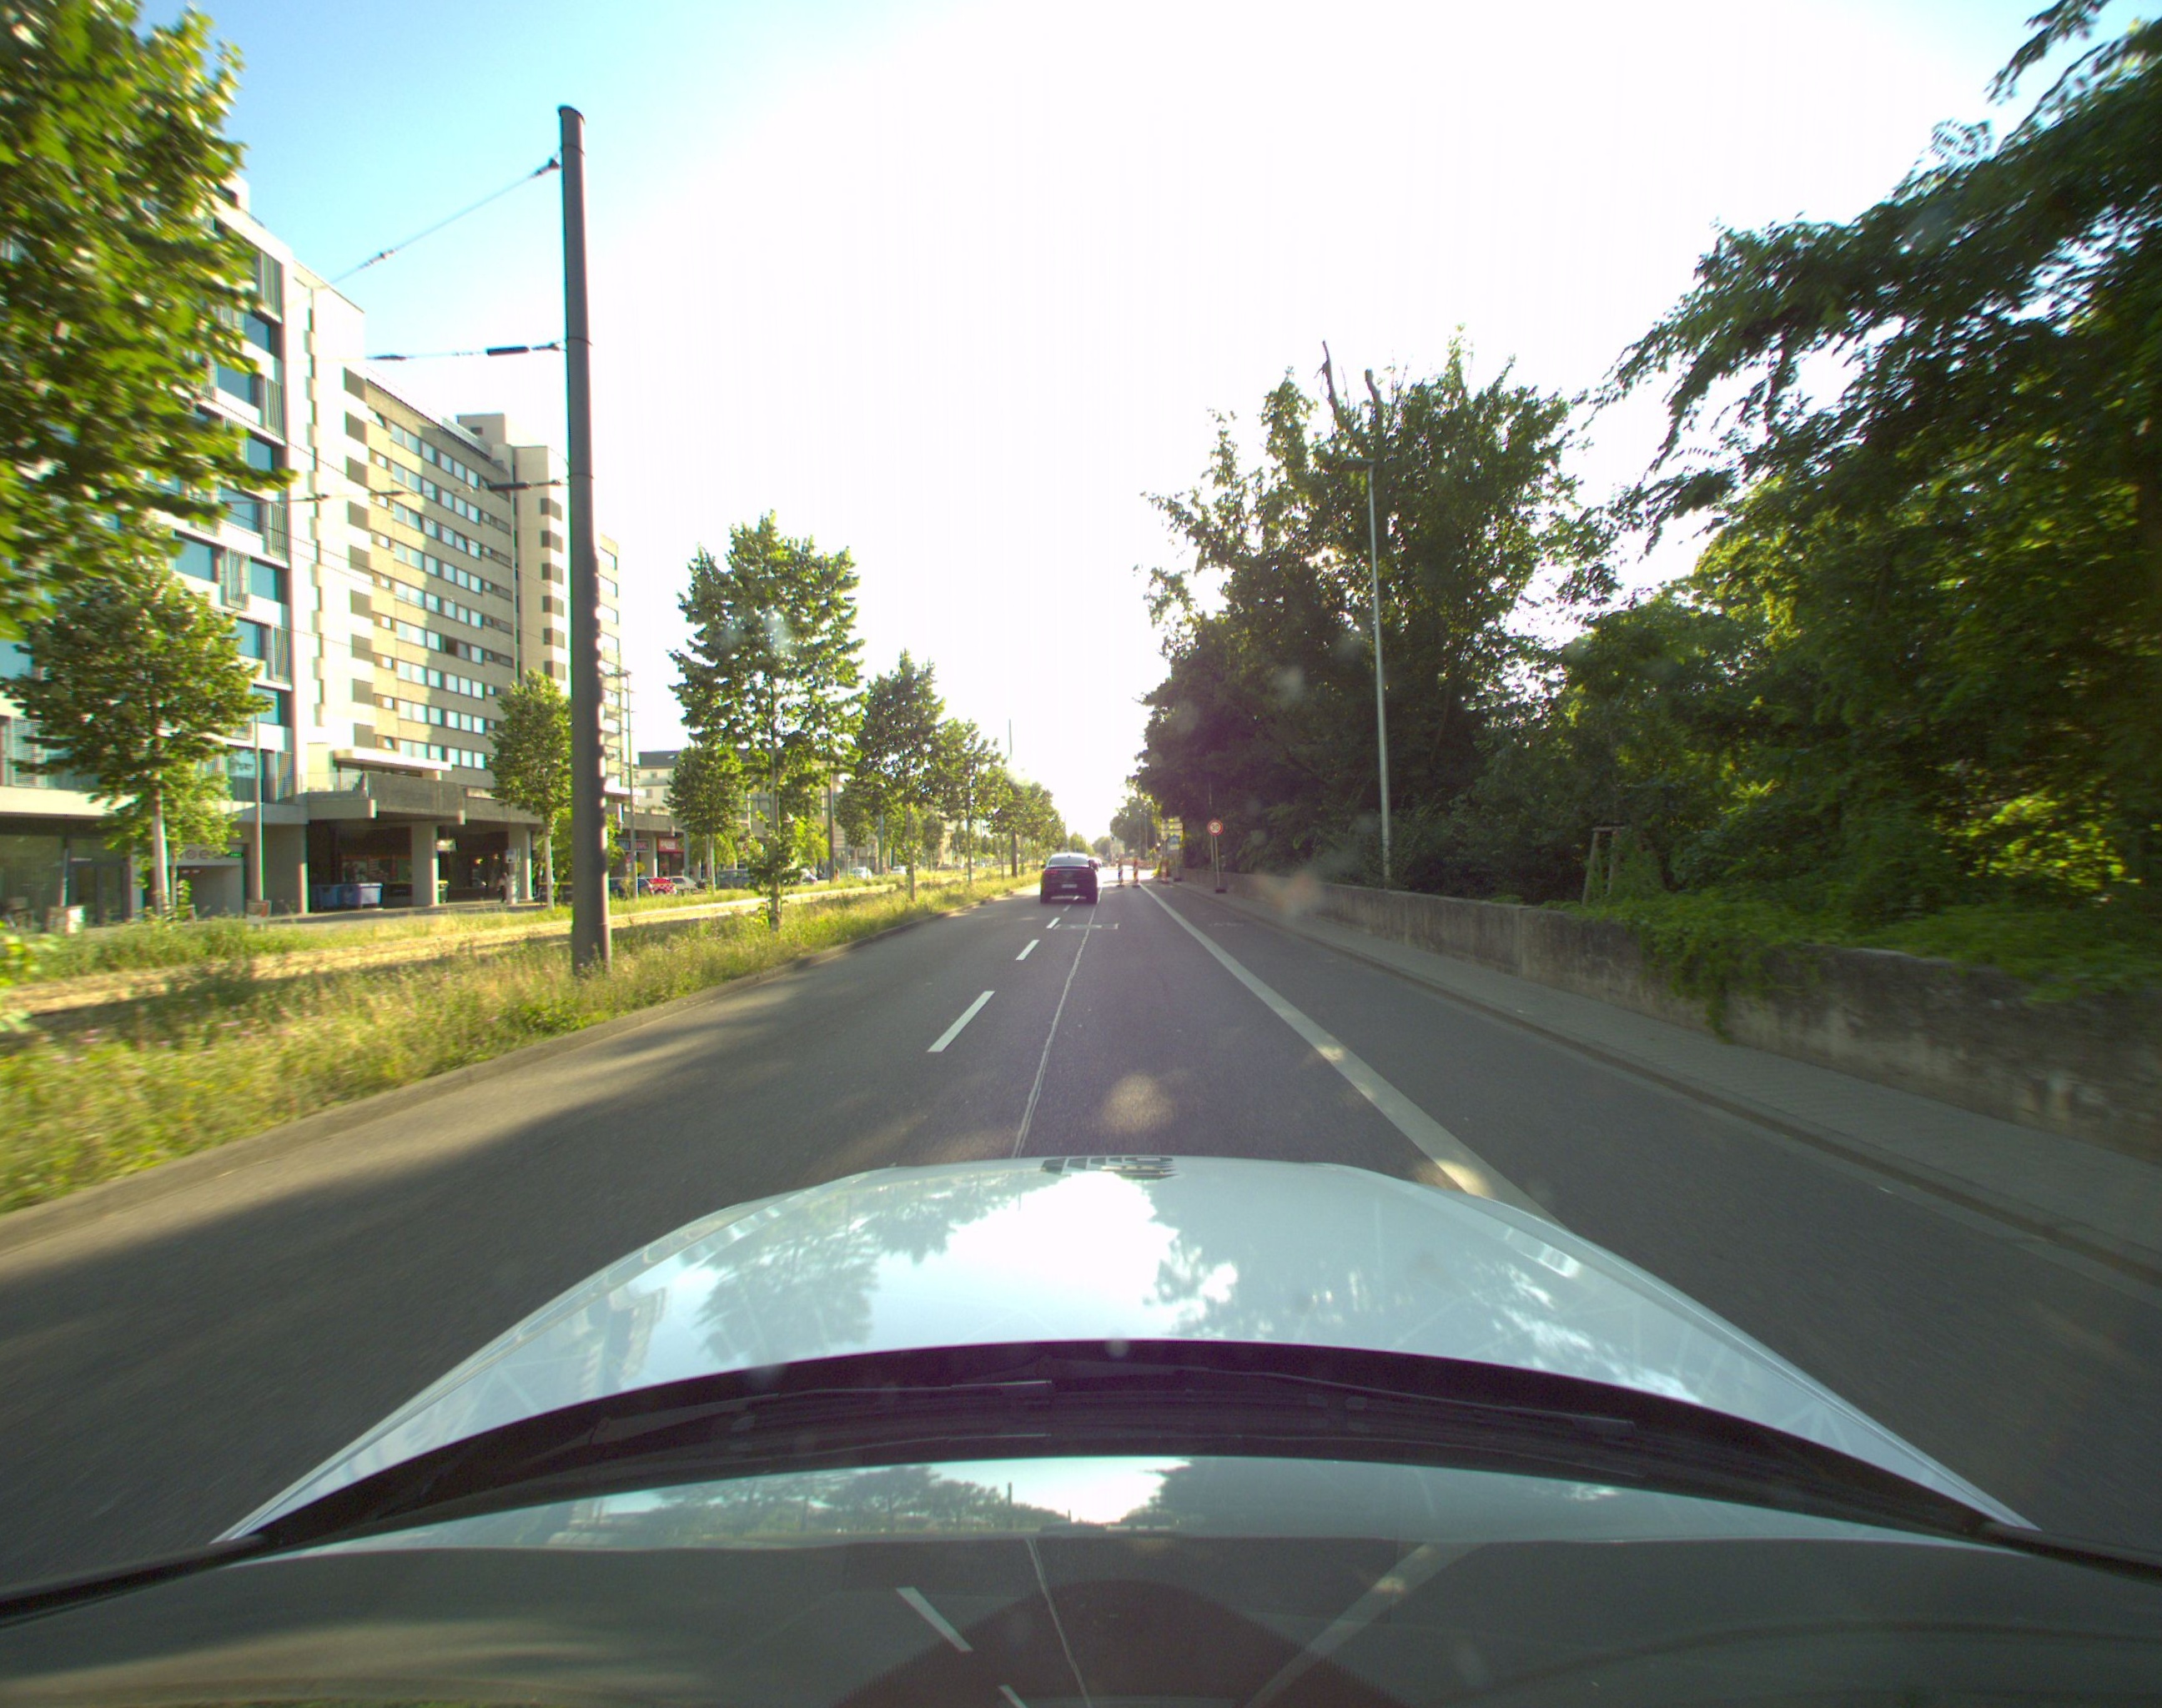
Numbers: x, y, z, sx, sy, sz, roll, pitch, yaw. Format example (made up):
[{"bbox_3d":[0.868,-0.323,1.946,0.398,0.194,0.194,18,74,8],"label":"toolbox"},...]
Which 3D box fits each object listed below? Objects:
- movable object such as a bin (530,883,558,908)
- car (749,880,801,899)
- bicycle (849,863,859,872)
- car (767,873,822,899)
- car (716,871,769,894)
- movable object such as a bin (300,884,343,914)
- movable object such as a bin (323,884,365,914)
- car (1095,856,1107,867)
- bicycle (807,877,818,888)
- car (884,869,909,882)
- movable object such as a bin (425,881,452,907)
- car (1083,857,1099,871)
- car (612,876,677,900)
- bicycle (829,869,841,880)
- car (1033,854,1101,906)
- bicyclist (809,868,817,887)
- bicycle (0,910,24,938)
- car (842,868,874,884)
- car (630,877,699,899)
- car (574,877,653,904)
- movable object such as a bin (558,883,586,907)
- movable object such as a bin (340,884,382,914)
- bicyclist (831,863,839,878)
[{"bbox_3d":[-30.256,2.315,45.902,0.851,1.358,0.944,-2,-1,16],"label":"movable object such as a bin"},{"bbox_3d":[-28.183,3.241,75.043,1.975,1.574,4.024,-1,-1,44],"label":"car"},{"bbox_3d":[-25.390,1.542,91.225,0.605,0.963,1.717,-1,0,-1],"label":"bicycle"},{"bbox_3d":[-20.681,2.258,59.104,1.877,1.689,5.094,-1,0,4],"label":"car"},{"bbox_3d":[-28.393,2.341,68.361,3.777,1.829,1.804,0,-1,-38],"label":"car"},{"bbox_3d":[-38.710,2.293,41.528,0.797,1.440,1.403,-2,-1,2],"label":"movable object such as a bin"},{"bbox_3d":[-37.561,2.280,41.528,0.797,1.440,1.403,-2,-1,2],"label":"movable object such as a bin"},{"bbox_3d":[2.994,1.175,122.636,1.761,1.604,3.773,-2,0,1],"label":"car"},{"bbox_3d":[-25.662,2.714,77.899,0.542,0.993,1.711,-1,0,0],"label":"bicycle"},{"bbox_3d":[-22.726,2.623,100.310,1.877,1.514,4.004,-1,0,4],"label":"car"},{"bbox_3d":[-36.236,2.260,45.940,0.818,1.371,0.869,-2,-1,2],"label":"movable object such as a bin"},{"bbox_3d":[1.208,1.215,97.935,1.879,1.580,4.001,-1,0,1],"label":"car"},{"bbox_3d":[-29.465,2.300,55.022,3.643,1.523,1.602,1,-1,-39],"label":"car"},{"bbox_3d":[-24.883,2.078,82.419,0.552,1.040,1.792,-1,0,3],"label":"bicycle"},{"bbox_3d":[-0.587,0.889,29.540,1.992,1.734,3.989,-1,0,-8],"label":"car"},{"bbox_3d":[-25.670,2.289,77.994,0.538,1.788,0.858,-1,-1,-1],"label":"bicyclist"},{"bbox_3d":[-37.079,2.403,27.600,1.799,0.905,0.511,-2,-1,-1],"label":"bicycle"},{"bbox_3d":[-22.357,2.198,81.925,1.877,1.514,4.004,-1,0,4],"label":"car"},{"bbox_3d":[-29.546,2.385,57.878,1.764,1.453,4.024,-1,-1,44],"label":"car"},{"bbox_3d":[-29.554,2.258,51.517,4.116,1.601,1.730,1,0,-39],"label":"car"},{"bbox_3d":[-28.863,2.301,46.192,0.851,1.280,0.944,-2,-1,16],"label":"movable object such as a bin"},{"bbox_3d":[-36.692,2.270,41.507,0.797,1.440,1.403,-2,-1,2],"label":"movable object such as a bin"},{"bbox_3d":[-24.897,1.669,82.335,0.549,1.544,0.682,-1,-1,3],"label":"bicyclist"}]
